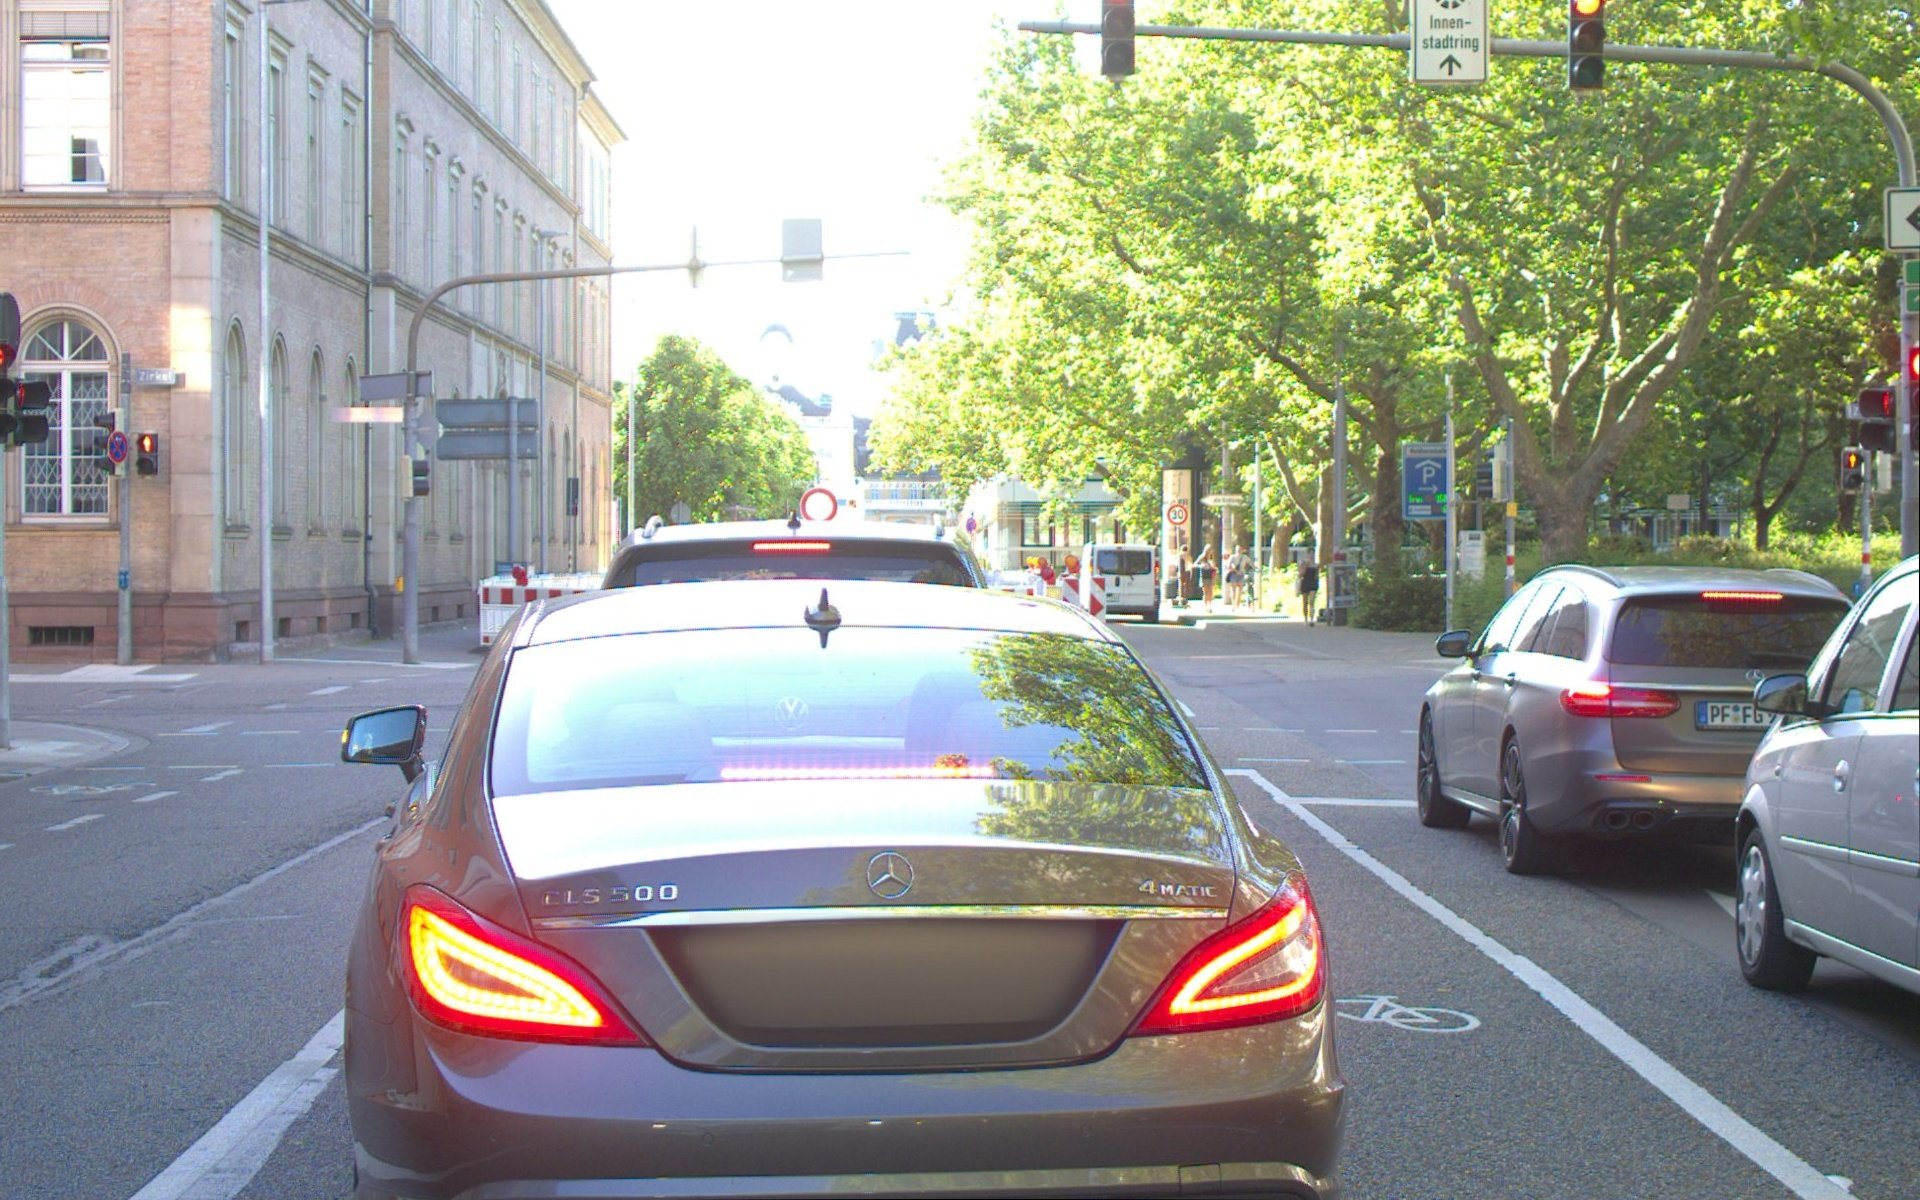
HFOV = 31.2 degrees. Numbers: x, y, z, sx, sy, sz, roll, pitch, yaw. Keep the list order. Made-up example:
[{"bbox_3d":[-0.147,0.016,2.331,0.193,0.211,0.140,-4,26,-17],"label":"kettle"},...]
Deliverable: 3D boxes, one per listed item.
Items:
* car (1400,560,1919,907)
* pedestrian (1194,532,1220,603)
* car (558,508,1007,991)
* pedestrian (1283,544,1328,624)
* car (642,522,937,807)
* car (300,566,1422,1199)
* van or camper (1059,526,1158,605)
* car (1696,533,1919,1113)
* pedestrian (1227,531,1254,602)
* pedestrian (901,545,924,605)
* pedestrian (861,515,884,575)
[{"bbox_3d":[3.536,0.565,17.462,1.913,1.459,4.669,2,1,-1],"label":"car"},{"bbox_3d":[6.337,-0.834,88.129,0.603,1.815,0.651,0,1,-1],"label":"pedestrian"},{"bbox_3d":[-0.697,0.483,13.706,1.517,1.641,3.881,1,1,-3],"label":"car"},{"bbox_3d":[7.024,-0.331,69.866,0.830,1.601,0.651,1,1,-1],"label":"pedestrian"},{"bbox_3d":[-1.075,0.362,23.250,1.820,1.756,4.000,0,1,-1],"label":"car"},{"bbox_3d":[-0.431,0.671,7.674,1.803,1.451,4.352,0,1,-8],"label":"car"},{"bbox_3d":[3.711,-0.888,86.826,1.993,1.935,4.595,0,1,-4],"label":"van or camper"},{"bbox_3d":[3.547,0.620,10.726,1.701,1.597,3.859,2,1,1],"label":"car"},{"bbox_3d":[7.186,-0.853,87.996,0.603,1.815,0.651,1,1,-1],"label":"pedestrian"},{"bbox_3d":[-1.598,-0.839,115.150,0.724,2.007,0.748,0,1,-4],"label":"pedestrian"},{"bbox_3d":[-2.923,-1.837,115.354,0.724,2.007,0.748,0,1,-4],"label":"pedestrian"}]
